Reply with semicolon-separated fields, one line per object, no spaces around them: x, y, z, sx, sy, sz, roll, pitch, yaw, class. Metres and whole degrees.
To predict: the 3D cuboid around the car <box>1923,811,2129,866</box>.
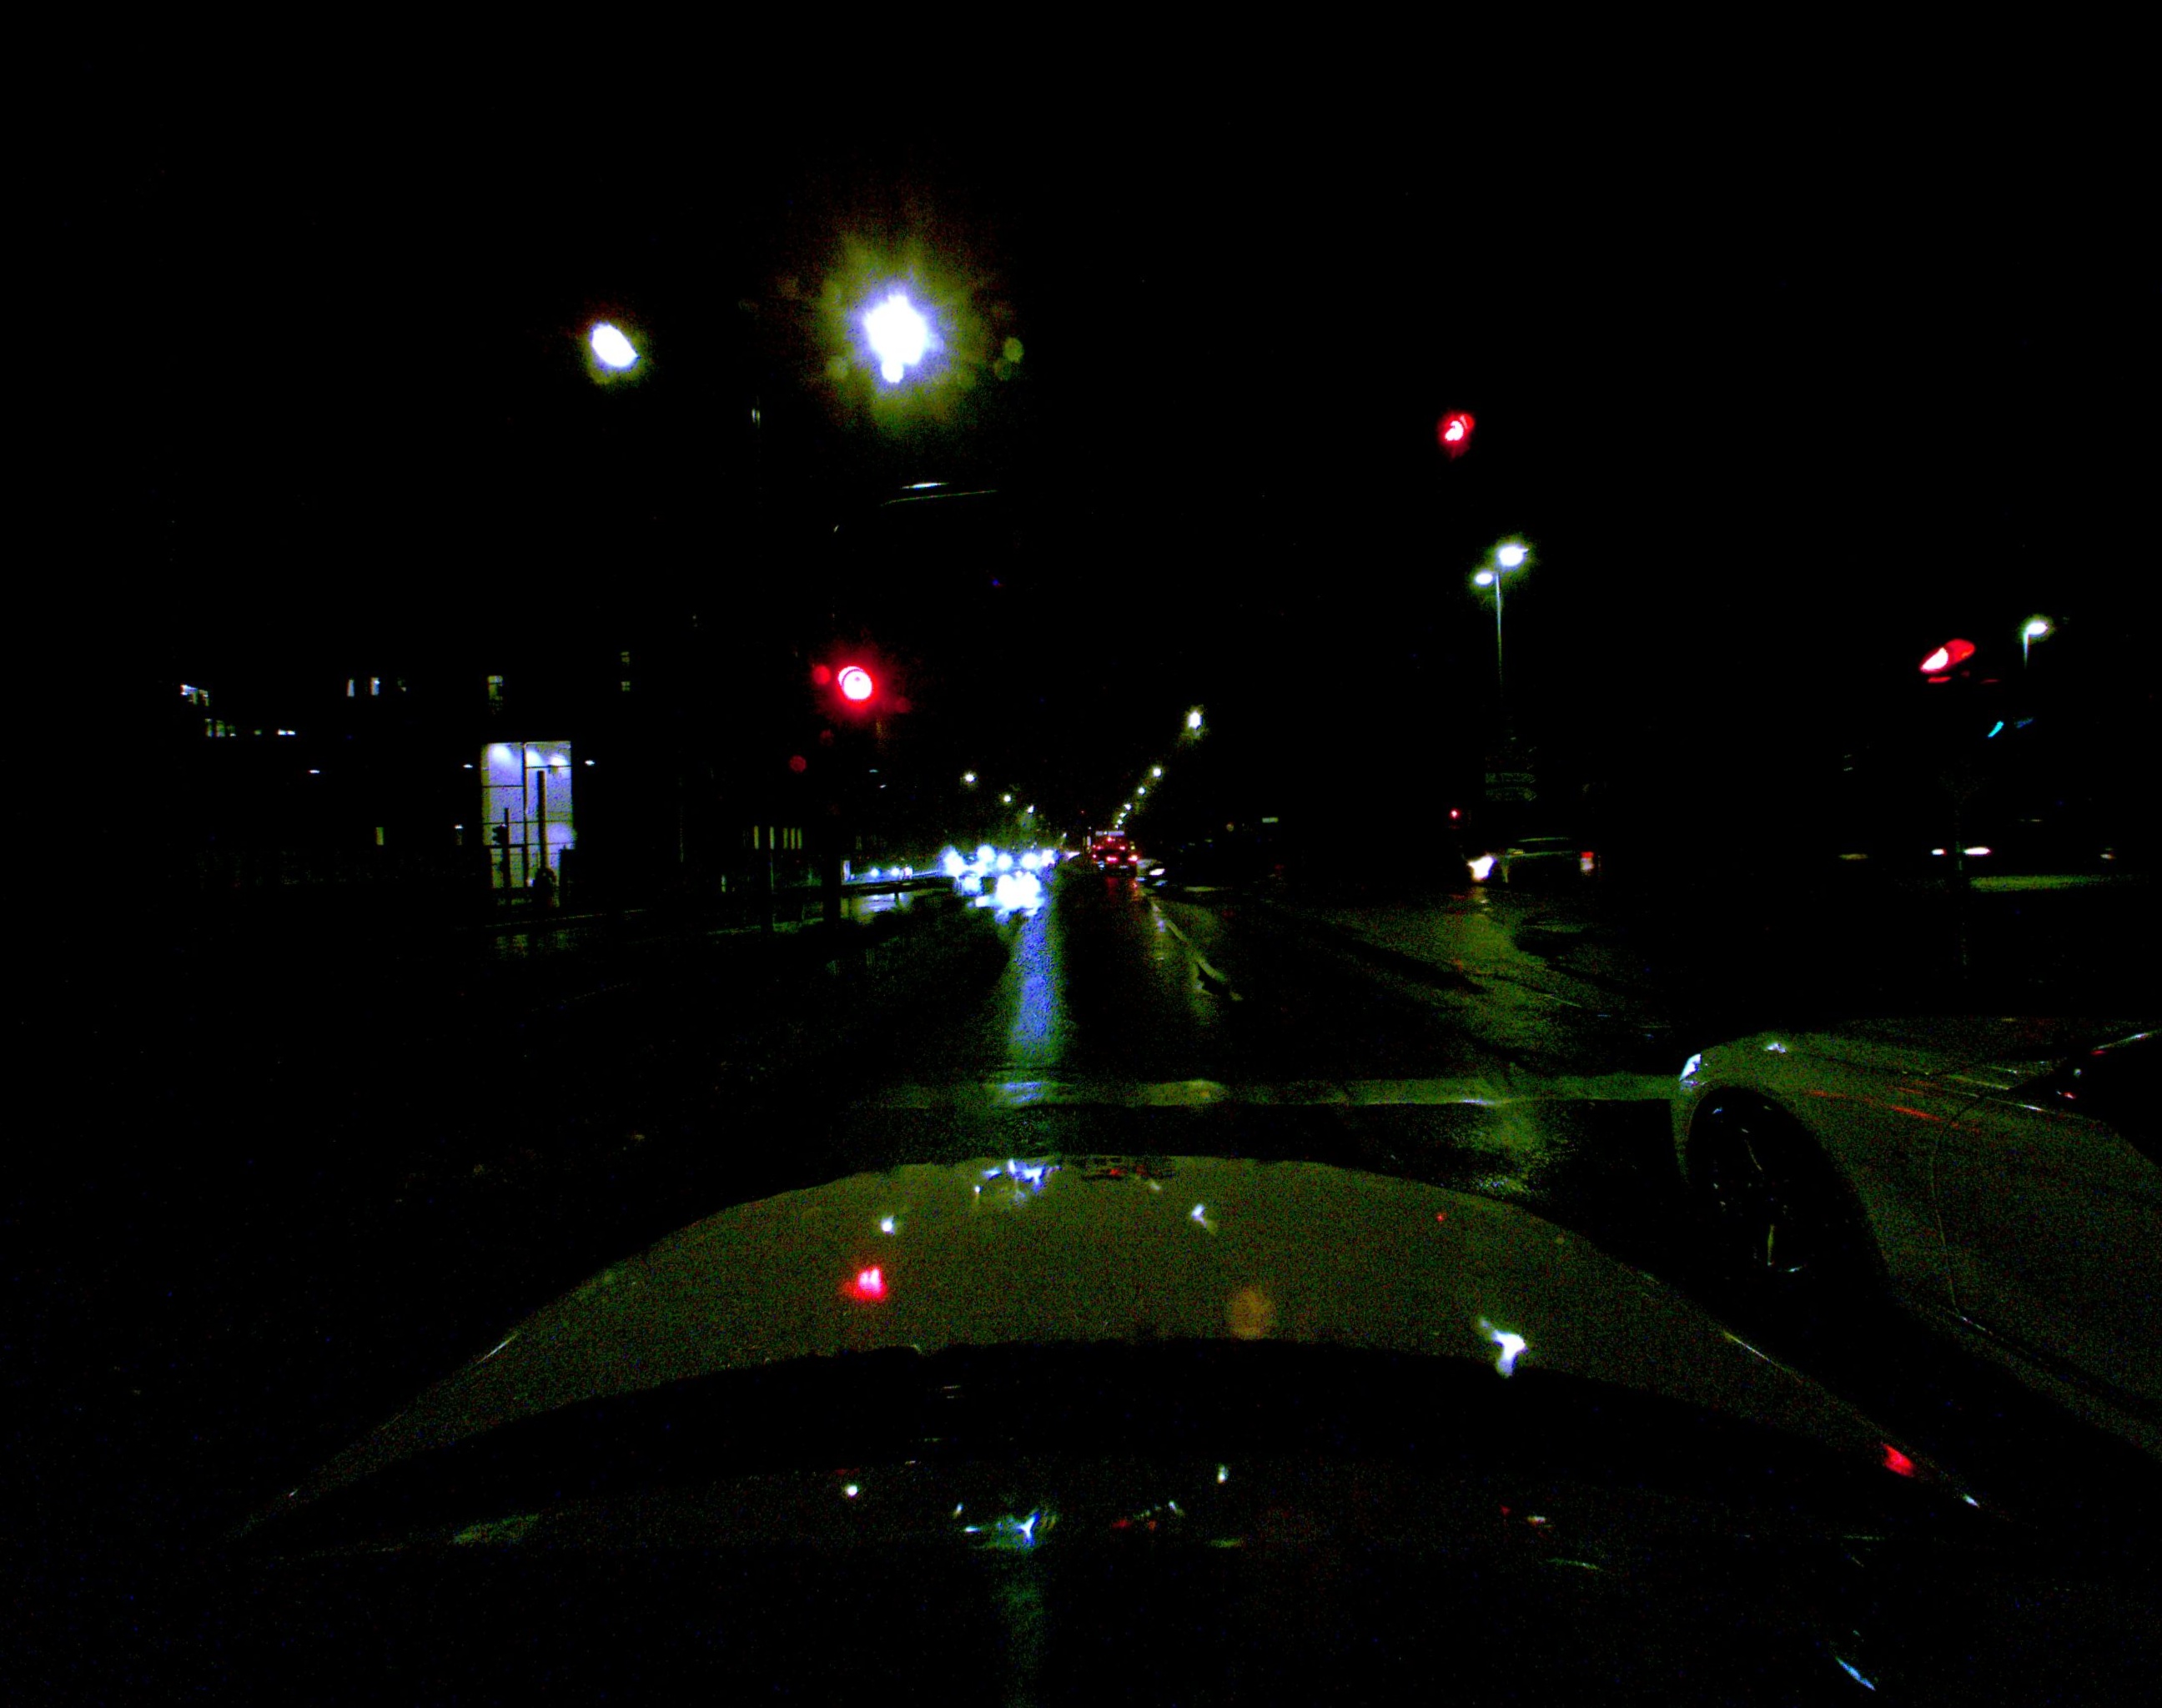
31.461;-0.483;27.232;4.469;1.749;1.862;0;-1;5;car

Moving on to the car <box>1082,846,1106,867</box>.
1.158;0.244;70.885;1.986;1.705;4.634;0;-1;2;car

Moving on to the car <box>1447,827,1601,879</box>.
15.418;-0.016;28.546;4.364;1.741;1.912;0;-1;3;car

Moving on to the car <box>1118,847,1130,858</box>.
7.325;-0.271;138.657;1.986;1.759;4.001;0;-1;2;car

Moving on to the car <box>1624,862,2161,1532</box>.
3.123;0.723;1.304;1.710;1.404;4.351;0;0;2;car

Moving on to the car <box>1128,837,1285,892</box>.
4.209;0.336;27.580;4.906;1.741;1.963;0;-1;-13;car

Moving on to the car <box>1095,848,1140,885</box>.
2.062;0.724;47.092;1.990;2.014;4.624;0;-1;-5;car
